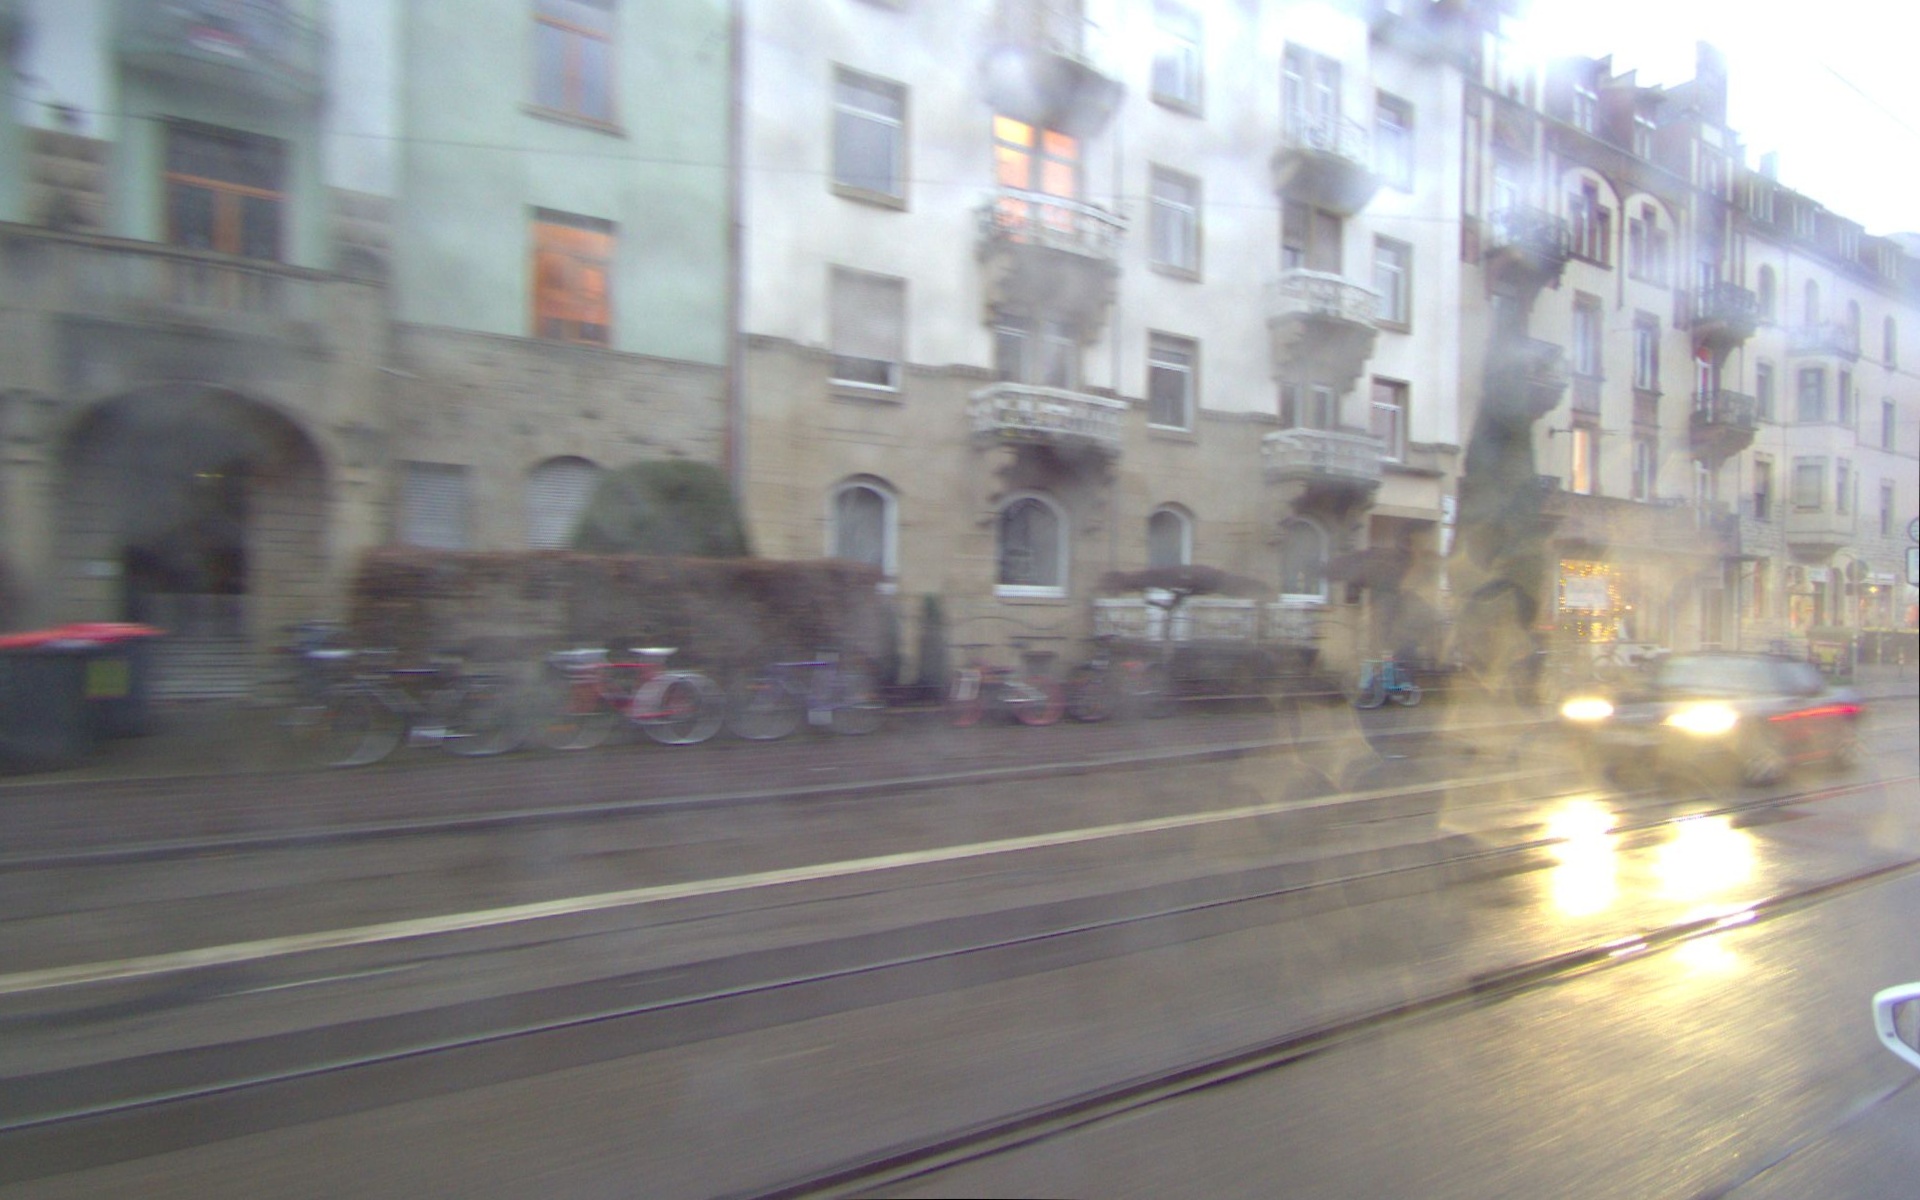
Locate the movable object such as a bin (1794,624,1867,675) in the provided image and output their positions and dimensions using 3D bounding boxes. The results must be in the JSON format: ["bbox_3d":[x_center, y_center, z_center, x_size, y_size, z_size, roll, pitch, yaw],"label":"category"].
[{"bbox_3d":[27.779,1.552,32.060,1.349,1.551,1.402,0,-1,-30],"label":"movable object such as a bin"}]

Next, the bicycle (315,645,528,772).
[{"bbox_3d":[-4.843,0.983,9.083,1.578,1.044,0.688,5,-4,-32],"label":"bicycle"}]

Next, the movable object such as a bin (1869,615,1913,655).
[{"bbox_3d":[37.975,1.405,40.981,1.067,1.622,1.010,0,-1,-28],"label":"movable object such as a bin"}]

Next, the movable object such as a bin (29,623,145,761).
[{"bbox_3d":[-7.762,0.784,8.931,0.738,1.152,0.687,1,-1,-44],"label":"movable object such as a bin"}]

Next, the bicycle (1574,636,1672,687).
[{"bbox_3d":[15.228,1.382,23.105,0.610,1.095,1.792,0,-1,-36],"label":"bicycle"}]

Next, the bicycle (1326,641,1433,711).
[{"bbox_3d":[6.595,1.166,15.771,1.785,1.031,0.622,1,-1,-32],"label":"bicycle"}]

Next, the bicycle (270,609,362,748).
[{"bbox_3d":[-6.497,0.764,10.191,0.483,1.279,1.585,6,-4,-26],"label":"bicycle"}]

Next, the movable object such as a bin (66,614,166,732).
[{"bbox_3d":[-8.666,0.718,10.310,0.738,1.152,0.687,1,-1,-44],"label":"movable object such as a bin"}]

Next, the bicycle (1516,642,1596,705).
[{"bbox_3d":[11.138,1.345,18.749,1.792,1.095,0.610,1,-1,-35],"label":"bicycle"}]

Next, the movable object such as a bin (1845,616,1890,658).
[{"bbox_3d":[35.890,1.445,39.726,1.067,1.622,1.010,0,-1,-28],"label":"movable object such as a bin"}]

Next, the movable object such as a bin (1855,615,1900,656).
[{"bbox_3d":[36.911,1.402,40.404,1.140,1.622,1.010,0,-1,-28],"label":"movable object such as a bin"}]

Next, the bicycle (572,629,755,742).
[{"bbox_3d":[-2.969,0.868,10.124,1.581,1.044,0.687,6,-4,-35],"label":"bicycle"}]

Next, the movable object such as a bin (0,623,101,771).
[{"bbox_3d":[-7.605,0.774,8.290,0.738,1.152,0.687,1,-1,-44],"label":"movable object such as a bin"}]

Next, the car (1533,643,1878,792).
[{"bbox_3d":[7.901,1.110,10.569,3.831,1.214,1.651,1,-1,-32],"label":"car"}]

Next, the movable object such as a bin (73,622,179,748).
[{"bbox_3d":[-8.121,0.797,9.782,0.738,1.152,0.687,1,-1,-44],"label":"movable object such as a bin"}]

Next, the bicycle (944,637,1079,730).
[{"bbox_3d":[0.643,0.990,12.197,1.583,1.044,0.686,2,-2,-40],"label":"bicycle"}]

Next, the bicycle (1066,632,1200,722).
[{"bbox_3d":[2.300,0.978,13.227,1.909,1.114,0.484,1,-2,-32],"label":"bicycle"}]

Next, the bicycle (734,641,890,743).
[{"bbox_3d":[-1.637,0.999,11.228,1.583,1.044,0.686,3,-3,-40],"label":"bicycle"}]
